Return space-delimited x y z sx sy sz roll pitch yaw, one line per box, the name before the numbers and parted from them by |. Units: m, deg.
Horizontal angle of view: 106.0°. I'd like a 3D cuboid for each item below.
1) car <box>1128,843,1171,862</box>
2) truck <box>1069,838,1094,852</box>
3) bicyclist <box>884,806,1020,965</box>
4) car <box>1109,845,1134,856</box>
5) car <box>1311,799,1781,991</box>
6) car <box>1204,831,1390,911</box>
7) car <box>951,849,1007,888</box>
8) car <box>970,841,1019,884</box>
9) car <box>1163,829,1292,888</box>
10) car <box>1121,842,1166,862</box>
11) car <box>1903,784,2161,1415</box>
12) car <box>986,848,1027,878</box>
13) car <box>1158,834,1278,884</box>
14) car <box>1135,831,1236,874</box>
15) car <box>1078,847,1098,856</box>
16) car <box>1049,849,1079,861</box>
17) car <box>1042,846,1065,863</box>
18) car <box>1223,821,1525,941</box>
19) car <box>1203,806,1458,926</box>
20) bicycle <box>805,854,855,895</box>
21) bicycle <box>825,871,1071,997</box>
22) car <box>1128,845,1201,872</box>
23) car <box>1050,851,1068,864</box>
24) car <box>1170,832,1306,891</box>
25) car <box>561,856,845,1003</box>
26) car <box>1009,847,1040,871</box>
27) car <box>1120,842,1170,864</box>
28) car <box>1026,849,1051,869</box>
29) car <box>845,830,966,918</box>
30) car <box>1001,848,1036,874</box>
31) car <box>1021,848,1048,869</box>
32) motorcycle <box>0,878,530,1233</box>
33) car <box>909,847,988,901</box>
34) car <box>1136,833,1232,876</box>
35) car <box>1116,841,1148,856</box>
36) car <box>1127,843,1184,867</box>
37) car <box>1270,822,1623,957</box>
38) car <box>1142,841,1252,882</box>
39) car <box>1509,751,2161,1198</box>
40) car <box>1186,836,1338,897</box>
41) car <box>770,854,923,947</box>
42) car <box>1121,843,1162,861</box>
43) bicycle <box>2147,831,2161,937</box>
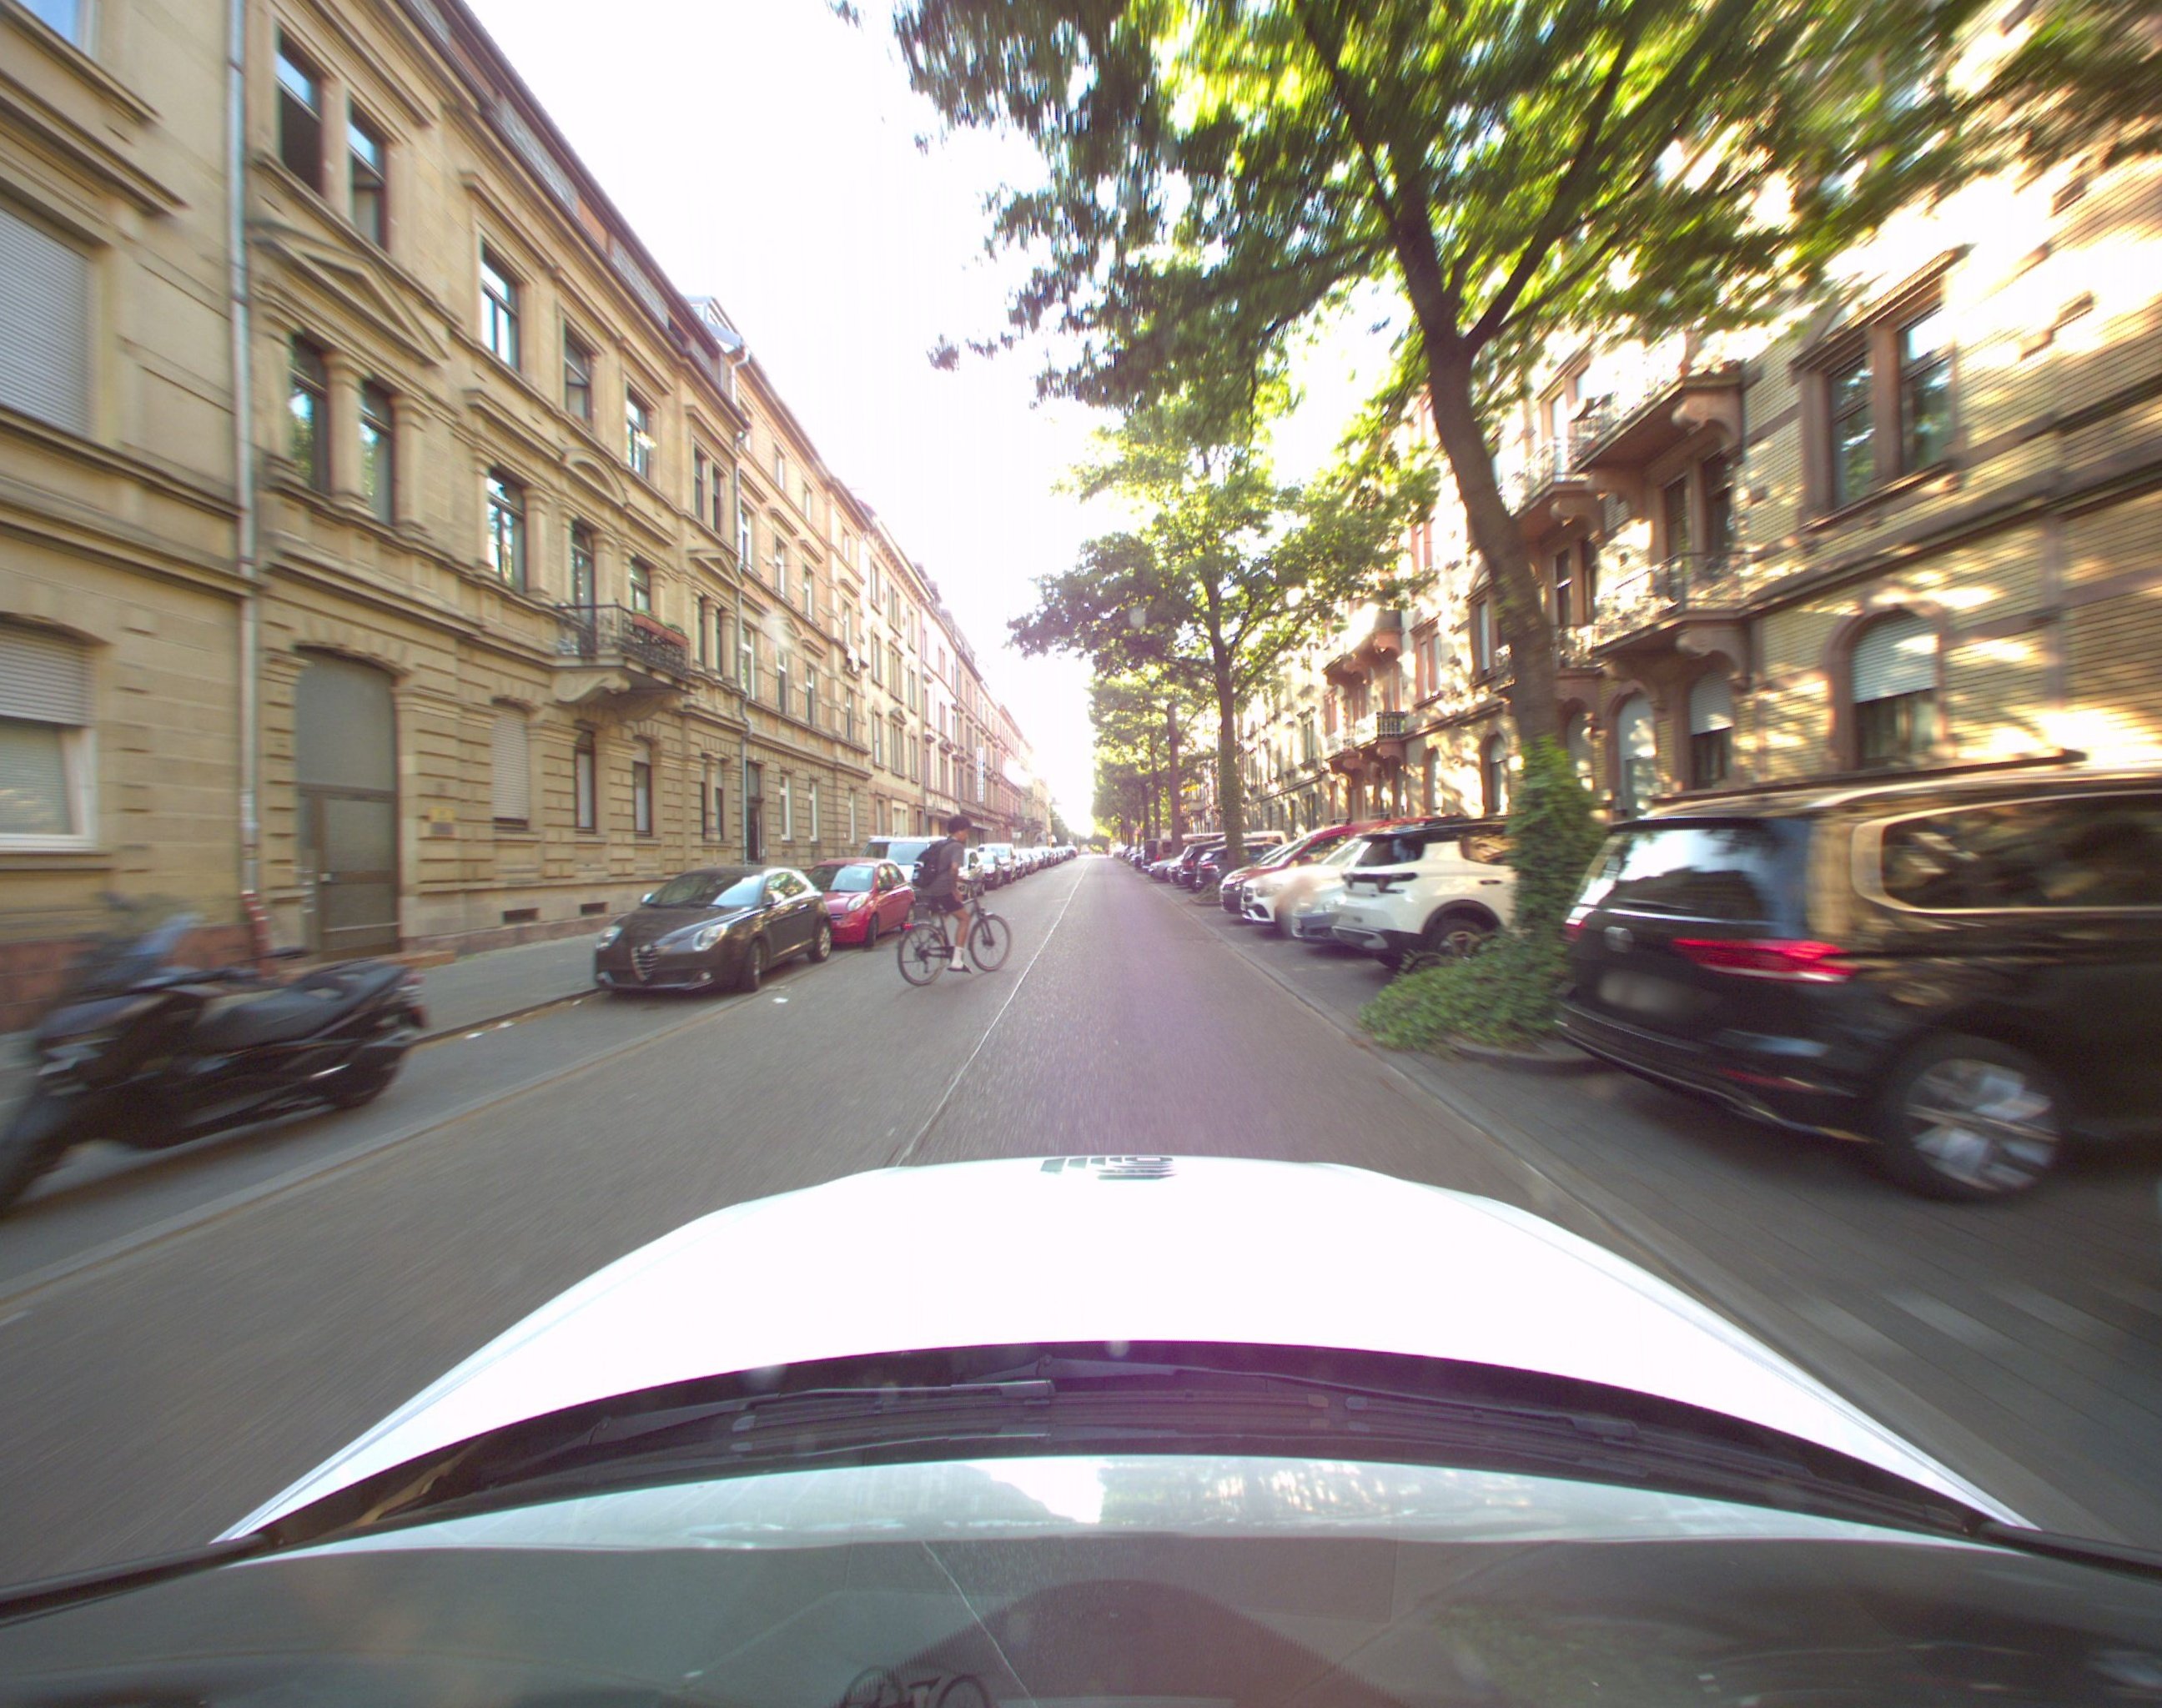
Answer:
car | 6.564 -0.168 78.333 3.847 1.573 1.714 -4 0 -7
truck | 0.259 -2.727 237.195 7.277 3.950 2.411 0 0 -36
bicyclist | -1.563 0.336 9.915 0.986 1.789 1.215 -2 1 42
car | 6.522 -0.598 131.043 3.838 1.573 1.718 -3 0 0
car | 4.771 0.393 8.796 3.998 1.627 1.804 -3 0 -1
car | 4.875 0.347 18.693 3.653 1.454 1.847 -4 1 -6
car | -4.087 0.562 33.114 1.753 1.467 3.999 0 0 0
car | -3.980 0.341 38.131 1.753 1.842 4.529 -2 0 0
car | 5.150 0.143 28.989 4.208 1.776 1.835 -3 0 -1
car | 5.831 -0.167 75.934 3.847 1.573 1.714 -4 0 -7
car | 4.857 0.455 1.485 4.656 1.514 1.880 -3 0 2
car | -3.880 0.448 43.115 1.753 1.473 4.058 -2 0 0
car | 5.289 0.184 31.693 4.216 1.610 1.831 -4 0 -7
car | 5.516 -0.085 43.444 5.039 1.925 1.835 -3 0 0
car | 1.525 -0.545 176.925 3.963 1.859 1.756 -1 0 9
car | -2.237 0.187 108.372 1.974 1.486 4.025 -3 -2 33
car | -2.628 0.040 77.617 1.987 1.486 3.999 -2 -1 0
car | 4.748 0.396 13.645 4.330 1.556 1.850 -4 1 0
car | 4.852 0.198 16.251 4.432 1.924 1.849 -4 1 -2
bicycle | -8.249 0.648 26.903 0.738 1.255 2.827 -1 0 0
bicycle | -1.507 0.869 9.930 0.986 1.158 2.941 -2 1 42
car | 4.723 0.251 46.312 3.841 1.293 1.716 -3 0 -3
car | -2.661 0.447 97.753 1.987 1.486 3.999 -2 -1 0
car | 5.008 0.249 26.341 3.997 1.607 1.734 -3 0 0
car | -4.568 0.804 10.597 1.752 1.501 4.060 0 0 1
car | -3.714 0.324 54.086 1.753 1.473 4.058 -2 0 0
car | 5.395 -0.075 68.601 3.847 1.573 1.714 -4 0 -7
car | -3.358 0.339 65.103 1.753 1.473 4.058 -2 0 0
car | -4.274 0.419 20.738 1.825 1.943 5.261 0 0 1
car | -3.722 0.397 49.216 1.753 1.473 4.058 -2 0 0
car | -3.428 0.302 60.337 1.753 1.473 4.058 -2 0 0
motorcycle | -4.574 0.877 4.668 1.063 1.370 2.605 -1 0 -1
car | -4.234 0.589 26.667 1.747 1.608 4.385 0 0 1
car | 5.022 0.021 39.711 4.234 1.795 1.823 -4 0 -19
car | 6.284 -0.714 100.729 3.838 1.573 1.718 -3 0 0
car | 5.356 0.037 58.641 3.841 1.479 1.716 -3 0 -3
car | 4.854 0.449 11.248 3.997 1.434 1.794 -4 0 0
car | 4.789 0.302 34.074 4.213 1.403 1.833 -4 0 -4
car | 4.674 0.394 3.943 4.168 1.627 1.839 -3 0 4
car | 5.192 0.352 23.754 3.997 1.467 1.734 -3 0 0
car | -4.185 0.760 15.130 1.586 1.475 3.702 0 0 3
car | 6.179 -0.177 83.157 3.847 1.573 1.714 -4 0 -7
bicycle | 10.014 0.267 6.548 0.403 0.962 1.868 -5 0 2
